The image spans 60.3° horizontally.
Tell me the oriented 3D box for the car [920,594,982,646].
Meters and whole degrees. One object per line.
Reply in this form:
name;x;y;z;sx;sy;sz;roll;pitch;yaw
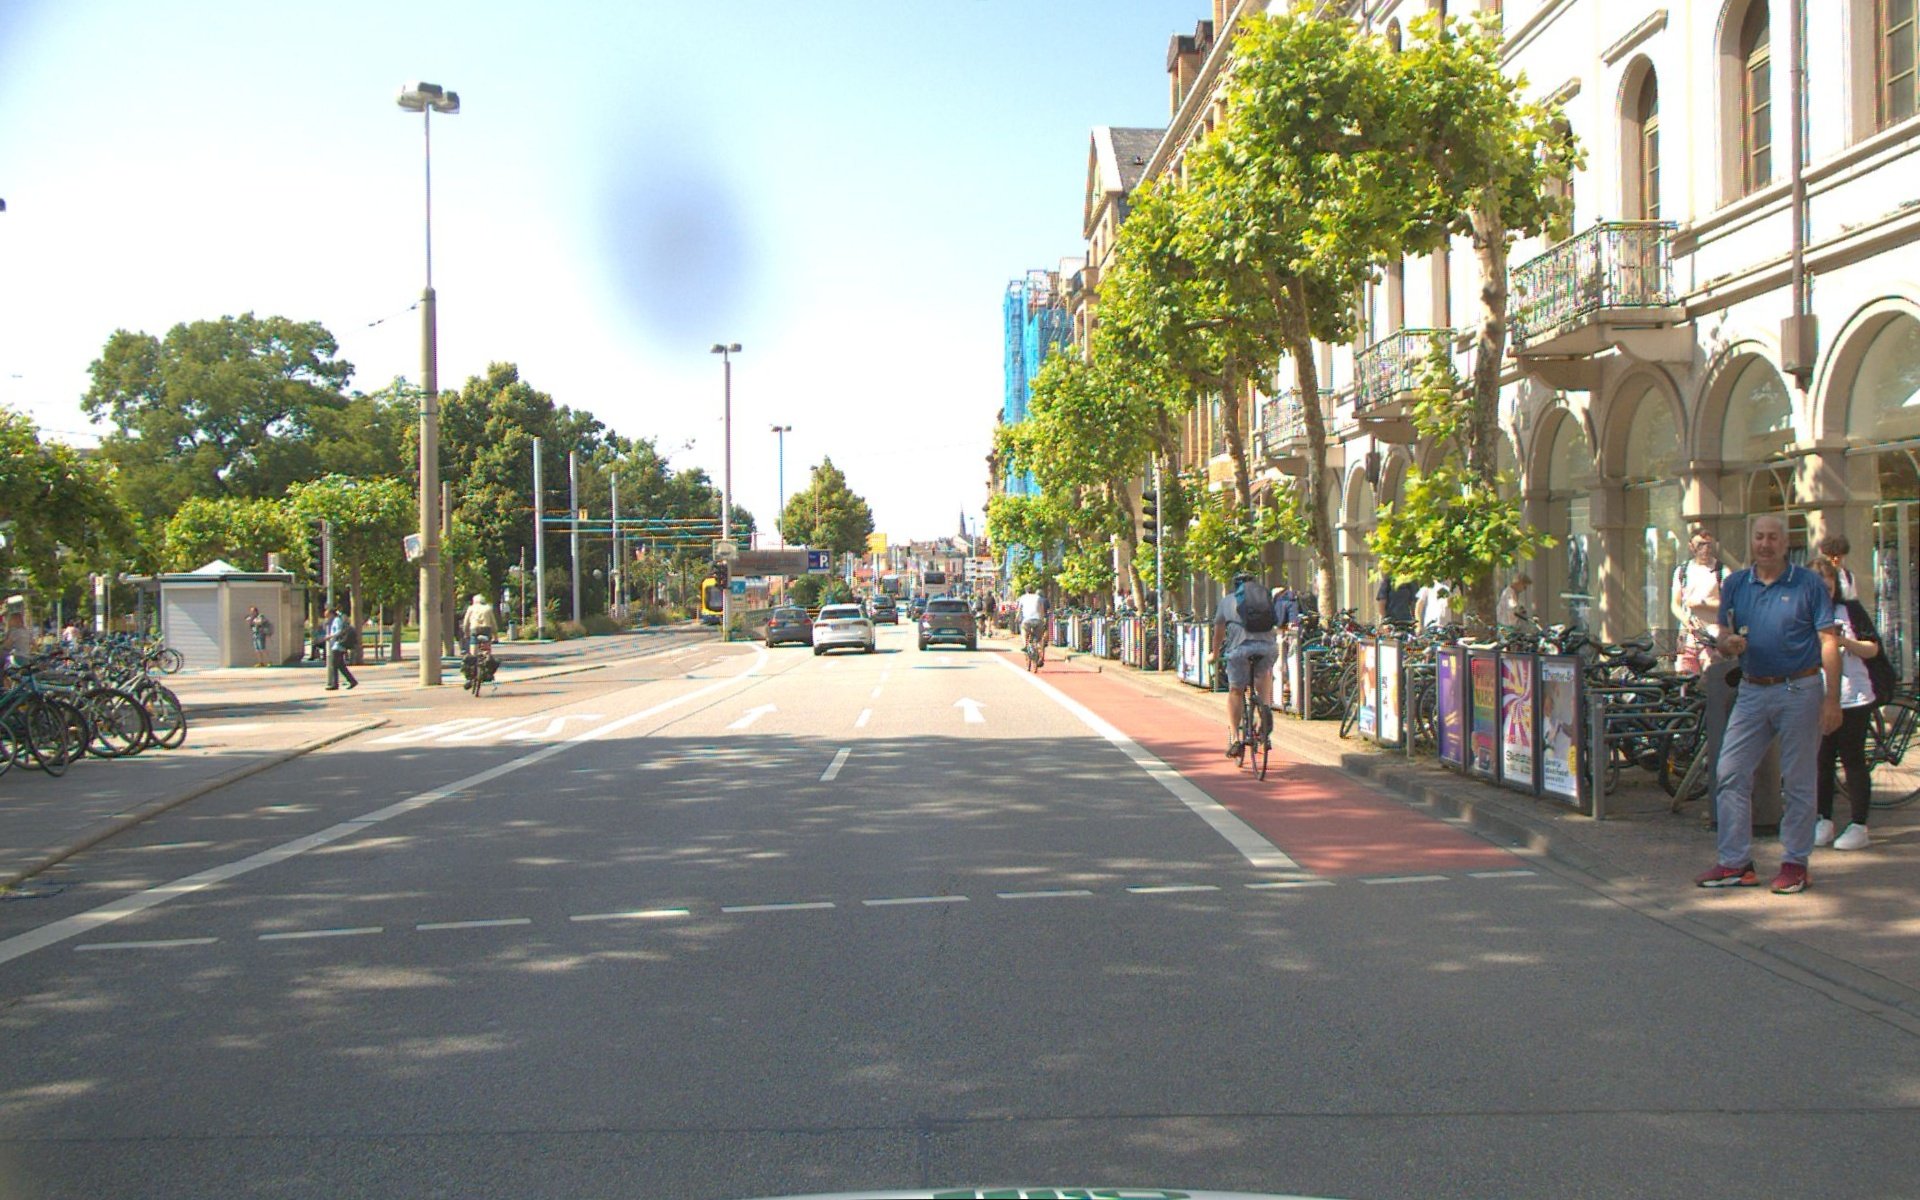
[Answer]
car;-0.289;0.600;51.021;1.835;1.519;3.999;0;0;-1

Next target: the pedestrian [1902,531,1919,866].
pedestrian;5.217;0.506;8.234;0.565;1.714;0.774;1;-1;-5

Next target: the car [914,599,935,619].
car;-2.408;0.594;112.192;1.422;1.323;3.341;1;0;-1

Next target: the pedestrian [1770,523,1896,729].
pedestrian;7.915;0.230;15.020;0.705;1.813;0.776;1;-1;-4

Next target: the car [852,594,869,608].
car;-9.609;0.143;160.134;1.422;1.323;3.999;1;0;-1

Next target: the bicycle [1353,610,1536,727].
bicycle;5.024;0.695;17.183;1.718;1.167;0.598;-1;0;-4

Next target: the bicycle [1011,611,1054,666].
bicycle;1.515;0.790;34.772;0.719;1.112;1.896;1;0;-3

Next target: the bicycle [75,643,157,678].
bicycle;-22.341;1.608;43.820;1.833;0.885;0.579;1;0;-15

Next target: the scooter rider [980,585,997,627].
scooter rider;1.200;0.262;69.759;0.674;1.759;0.778;1;-1;-2

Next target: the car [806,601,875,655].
car;-3.565;0.820;50.006;1.821;1.533;3.999;-2;0;-1

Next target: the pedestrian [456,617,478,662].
pedestrian;-18.361;1.470;61.616;0.513;1.637;0.627;-3;1;7

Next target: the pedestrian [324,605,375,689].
pedestrian;-12.545;0.949;34.006;0.876;1.688;0.678;-1;0;-11

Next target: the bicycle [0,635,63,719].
bicycle;-13.106;0.971;21.335;2.565;1.041;0.831;1;0;-2

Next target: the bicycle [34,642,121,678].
bicycle;-22.344;1.524;41.908;1.833;0.871;0.544;1;0;-15

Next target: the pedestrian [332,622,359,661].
pedestrian;-21.043;1.415;56.652;0.662;1.268;0.751;-3;1;-8

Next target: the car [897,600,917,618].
car;-3.968;0.684;123.014;1.423;1.323;3.339;1;0;-3

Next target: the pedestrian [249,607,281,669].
pedestrian;-20.625;1.125;49.077;0.741;1.758;0.832;-3;1;-25

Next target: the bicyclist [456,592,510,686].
bicyclist;-8.701;0.702;30.206;0.803;1.650;0.900;-2;1;-11

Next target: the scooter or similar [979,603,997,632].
scooter or similar;1.177;0.726;69.675;0.674;1.188;1.463;1;0;-2

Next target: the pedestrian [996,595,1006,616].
pedestrian;3.239;0.431;131.266;0.641;1.649;0.815;-2;1;-3

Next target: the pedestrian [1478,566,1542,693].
pedestrian;7.658;0.406;23.060;0.643;1.726;0.676;1;-1;-1

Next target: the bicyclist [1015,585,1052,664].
bicyclist;1.537;0.510;34.547;0.674;1.604;1.049;1;0;-1

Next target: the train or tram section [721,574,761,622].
train or tram section;-17.174;-0.163;129.767;2.561;3.644;5.354;1;0;-2

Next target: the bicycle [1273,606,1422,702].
bicycle;4.874;0.671;20.860;1.718;1.167;0.592;-1;0;-4

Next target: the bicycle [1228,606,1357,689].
bicycle;4.797;0.681;23.914;1.718;1.167;0.592;-1;0;-4

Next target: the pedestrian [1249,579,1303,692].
pedestrian;4.460;0.493;23.376;0.592;1.565;0.666;1;-1;-3

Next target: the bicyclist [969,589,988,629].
bicyclist;0.731;0.373;67.036;0.674;1.604;1.049;1;0;-3

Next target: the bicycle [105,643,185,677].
bicycle;-22.102;1.617;44.865;1.833;0.885;0.579;1;0;-15

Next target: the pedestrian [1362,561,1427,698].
pedestrian;6.300;0.424;24.009;0.687;1.935;0.776;1;-1;-4

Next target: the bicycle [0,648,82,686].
bicycle;-22.485;1.631;40.305;1.833;0.871;0.544;1;0;-15

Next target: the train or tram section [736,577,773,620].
train or tram section;-17.648;-0.118;142.318;2.561;3.644;6.014;1;0;-2

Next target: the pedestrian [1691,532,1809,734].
pedestrian;7.147;0.296;14.988;0.661;1.771;0.753;1;-1;-4

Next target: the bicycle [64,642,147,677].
bicycle;-22.329;1.548;43.252;1.833;0.871;0.544;1;0;-15

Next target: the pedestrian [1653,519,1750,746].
pedestrian;6.431;0.278;14.359;0.534;1.915;0.602;1;-1;-4

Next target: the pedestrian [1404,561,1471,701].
pedestrian;6.349;0.410;22.024;0.621;1.824;0.776;1;-1;-4

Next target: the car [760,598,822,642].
car;-6.284;0.734;61.815;1.953;1.534;3.999;1;0;-1

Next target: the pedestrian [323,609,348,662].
pedestrian;-20.006;1.137;52.952;0.568;1.637;0.597;-3;1;-31

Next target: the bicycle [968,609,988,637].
bicycle;0.730;0.939;67.125;0.719;1.112;1.897;1;0;-2

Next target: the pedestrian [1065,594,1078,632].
pedestrian;5.063;0.589;75.046;0.374;1.712;0.475;-2;-1;-14

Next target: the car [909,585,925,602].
car;-5.318;-0.778;205.765;1.953;2.049;3.999;1;0;-1

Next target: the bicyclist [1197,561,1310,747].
bicyclist;2.457;0.439;13.941;0.674;1.488;1.142;1;0;-3

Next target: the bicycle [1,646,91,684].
bicycle;-22.586;1.607;40.886;1.833;0.887;0.581;1;0;-15

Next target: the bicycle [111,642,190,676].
bicycle;-22.233;1.617;45.459;1.833;0.885;0.579;1;0;-15

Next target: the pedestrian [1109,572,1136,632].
pedestrian;4.641;0.057;47.199;0.639;1.662;0.730;1;-1;-4

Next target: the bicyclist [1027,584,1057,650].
bicyclist;2.076;0.427;41.988;0.674;1.644;0.918;1;0;-1

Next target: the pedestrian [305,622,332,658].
pedestrian;-22.073;1.380;56.901;0.662;1.191;0.751;-3;1;-8

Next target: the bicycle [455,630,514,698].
bicycle;-8.672;1.146;30.243;0.803;1.140;1.869;-3;0;-11

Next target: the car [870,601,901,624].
car;-4.689;0.783;104.197;1.778;1.355;3.999;1;0;-1

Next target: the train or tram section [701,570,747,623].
train or tram section;-16.764;-0.205;117.981;2.561;3.644;6.101;1;0;-2

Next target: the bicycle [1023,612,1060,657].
bicycle;2.057;0.860;41.980;0.719;1.112;1.910;1;0;-3

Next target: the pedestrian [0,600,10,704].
pedestrian;-16.903;0.915;28.445;0.612;1.776;0.679;-3;1;32

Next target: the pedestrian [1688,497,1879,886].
pedestrian;4.157;0.447;8.384;0.565;1.878;0.717;1;-1;-5

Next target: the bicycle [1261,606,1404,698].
bicycle;4.859;0.674;21.624;1.718;1.167;0.592;-1;0;-4

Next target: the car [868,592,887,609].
car;-6.582;0.070;132.149;1.422;1.323;3.999;1;0;-1

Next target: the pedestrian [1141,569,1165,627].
pedestrian;6.142;-0.059;52.677;0.654;1.812;0.985;-1;-1;2

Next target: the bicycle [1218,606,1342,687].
bicycle;4.753;0.683;24.608;1.718;1.167;0.592;-1;0;-4

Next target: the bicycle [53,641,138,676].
bicycle;-22.286;1.517;42.675;1.833;0.871;0.544;1;0;-15

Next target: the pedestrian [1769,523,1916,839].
pedestrian;5.013;0.440;9.391;0.611;1.714;0.575;0;-1;42
